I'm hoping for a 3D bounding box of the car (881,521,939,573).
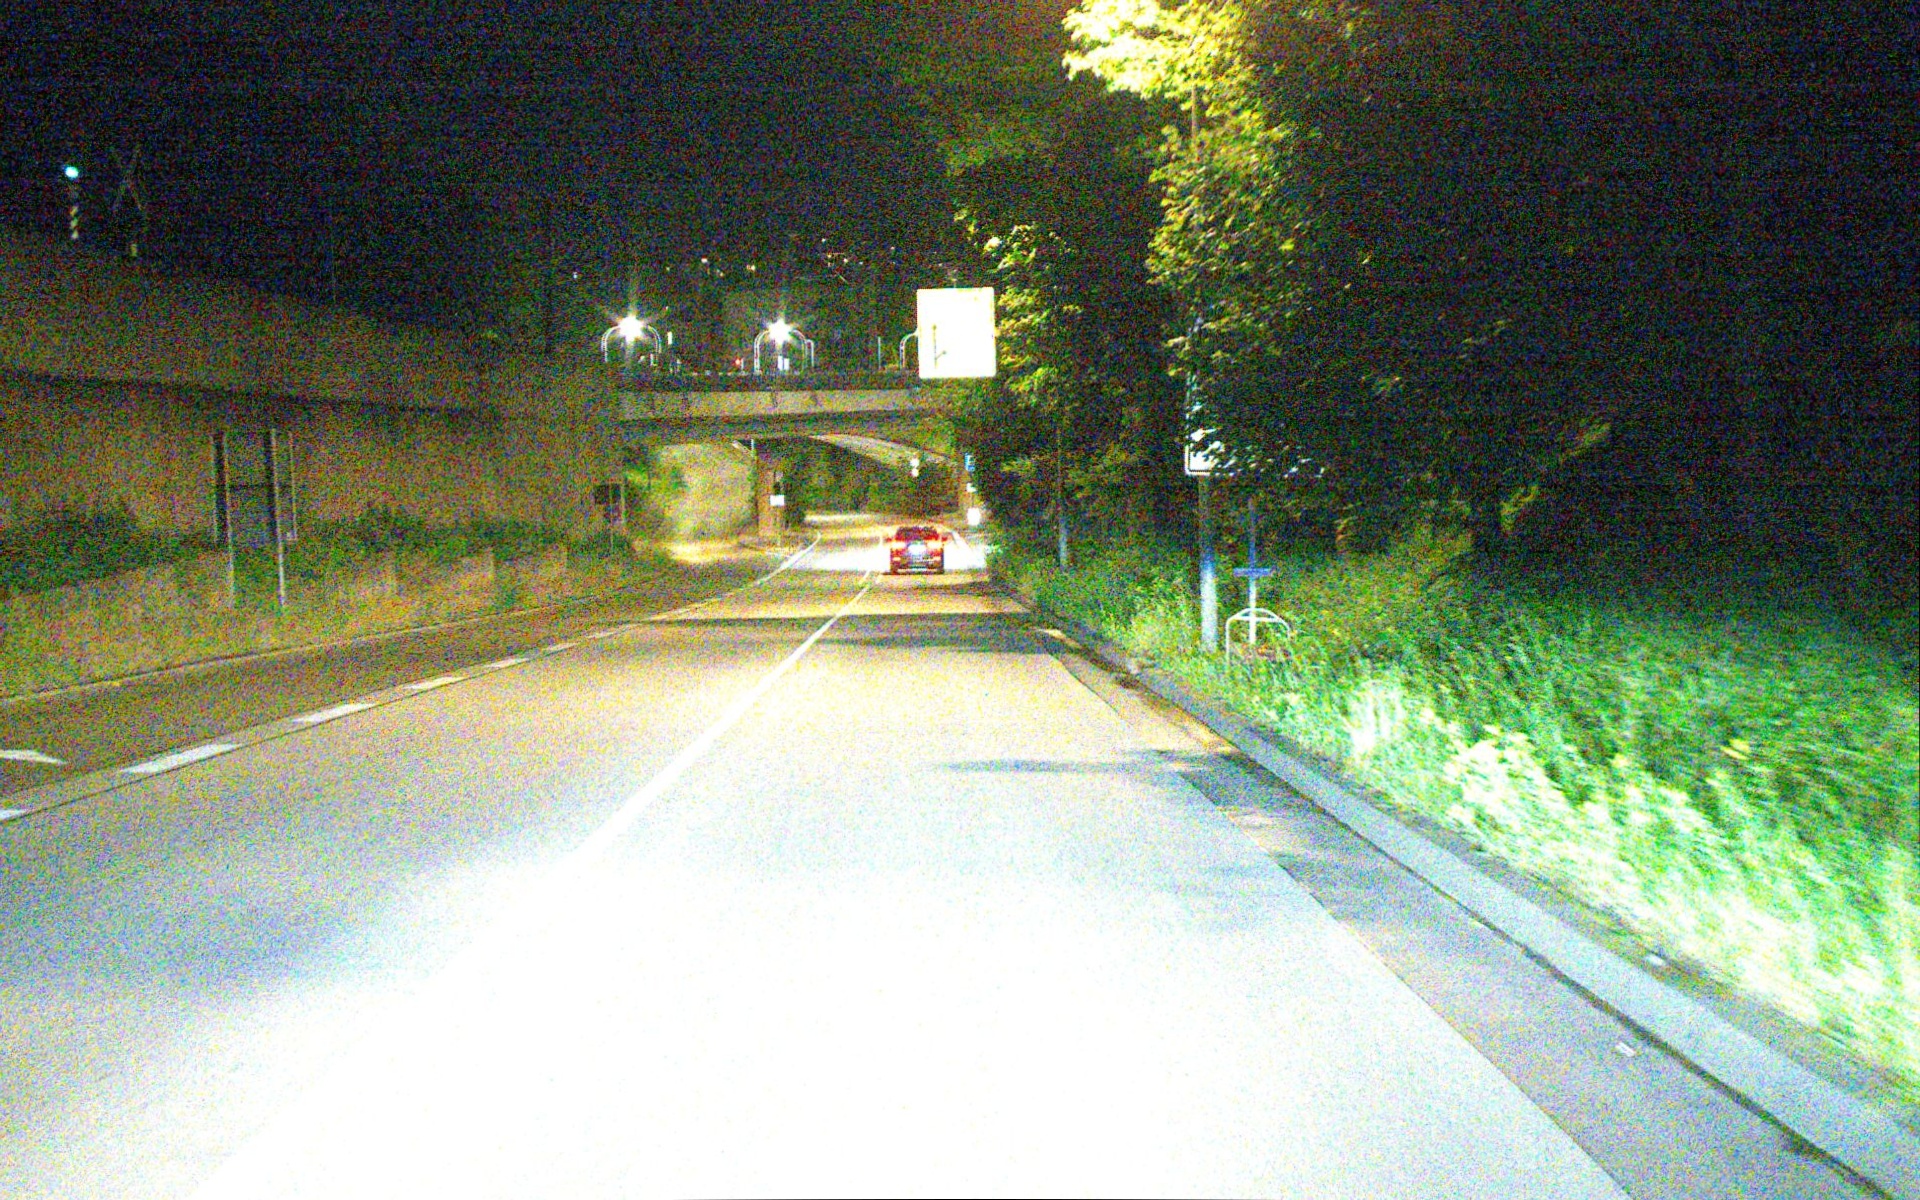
[{"bbox_3d":[-1.682,-1.779,113.878,1.763,1.636,3.723,0,2,-3],"label":"car"}]
